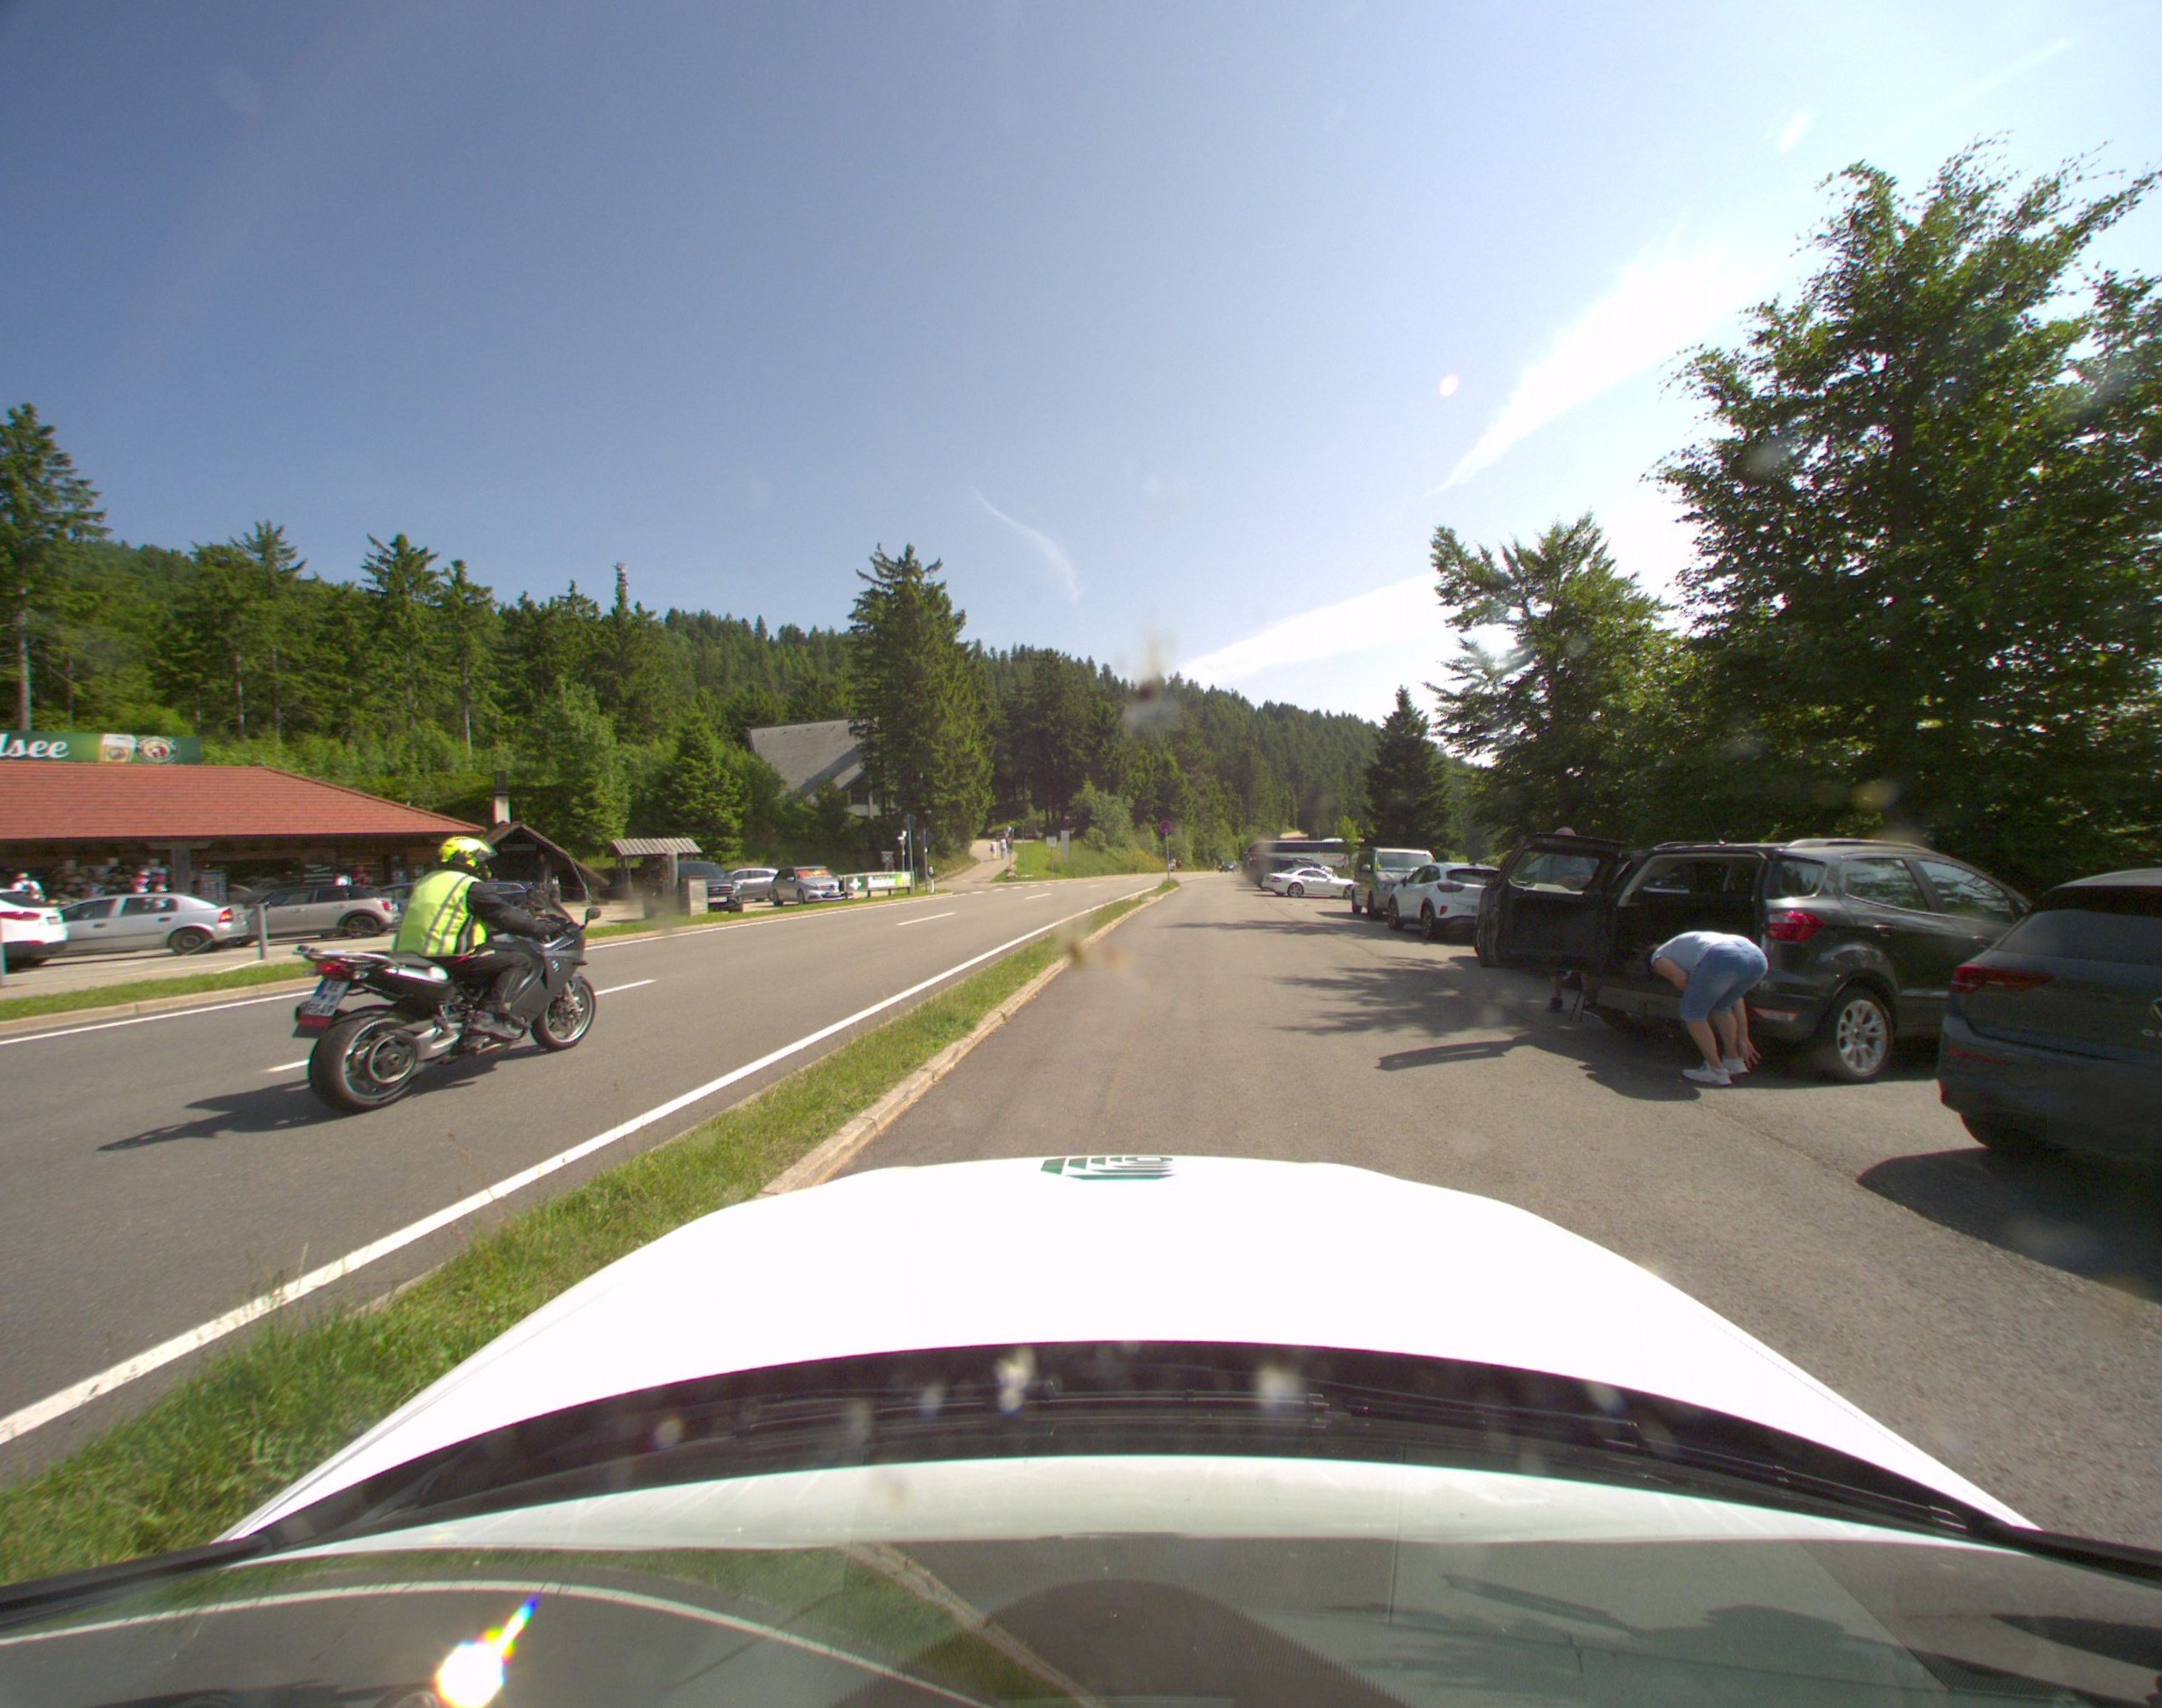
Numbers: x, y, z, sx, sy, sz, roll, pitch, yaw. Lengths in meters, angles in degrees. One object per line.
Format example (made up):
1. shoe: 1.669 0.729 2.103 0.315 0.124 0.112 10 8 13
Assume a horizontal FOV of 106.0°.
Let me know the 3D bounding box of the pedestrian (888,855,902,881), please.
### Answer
1. pedestrian: -11.194 0.827 48.959 0.574 1.532 0.554 -3 1 8

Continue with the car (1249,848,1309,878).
1. car: 13.863 0.608 57.153 3.962 1.814 1.946 2 2 10

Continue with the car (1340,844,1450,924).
1. car: 8.772 0.758 23.189 1.894 1.972 4.831 2 0 9

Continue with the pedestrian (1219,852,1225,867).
1. pedestrian: 19.457 0.721 112.275 0.728 2.014 0.864 -3 -2 8

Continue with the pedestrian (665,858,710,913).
1. pedestrian: -13.244 1.040 27.420 0.891 1.734 0.963 -3 1 8

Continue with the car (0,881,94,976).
1. car: -21.190 1.480 14.627 4.051 1.672 1.756 -4 0 -38

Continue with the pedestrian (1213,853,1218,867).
1. pedestrian: 18.696 0.852 113.464 0.619 1.900 0.656 -3 -2 8

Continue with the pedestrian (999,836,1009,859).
1. pedestrian: -6.171 -0.532 65.230 0.650 1.799 0.643 -2 -1 2

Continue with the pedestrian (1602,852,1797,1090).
1. pedestrian: 3.966 0.718 5.285 0.768 1.402 0.672 -3 1 14

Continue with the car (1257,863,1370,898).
1. car: 10.105 1.142 35.511 4.450 1.298 1.578 3 0 -8

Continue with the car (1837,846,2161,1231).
1. car: 5.973 0.713 3.690 3.991 1.443 1.832 1 0 -13

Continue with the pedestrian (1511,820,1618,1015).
1. pedestrian: 4.542 0.579 7.679 0.631 1.761 0.579 1 0 -8

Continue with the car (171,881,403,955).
1. car: -20.185 1.585 20.974 4.018 1.419 1.666 -4 0 -36

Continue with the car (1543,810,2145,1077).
1. car: 6.173 0.651 6.685 3.999 1.662 1.987 3 -1 -20

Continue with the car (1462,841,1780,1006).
1. car: 6.636 0.732 10.664 1.734 1.632 4.318 2 0 8

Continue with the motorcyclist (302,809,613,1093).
1. motorcyclist: -4.110 0.579 5.511 1.020 1.675 1.296 -1 0 8

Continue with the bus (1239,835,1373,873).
1. bus: 22.695 0.009 82.537 12.743 3.577 2.999 -1 2 25

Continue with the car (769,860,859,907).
1. car: -9.623 1.046 29.197 1.753 1.441 3.924 -4 1 -38

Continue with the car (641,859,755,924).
1. car: -10.982 1.033 23.198 1.799 1.634 4.160 -1 -1 -42

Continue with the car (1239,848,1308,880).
1. car: 11.792 0.611 50.111 3.964 1.719 1.872 2 2 8

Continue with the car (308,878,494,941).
1. car: -19.873 1.596 24.048 4.018 1.419 1.666 -4 0 -36

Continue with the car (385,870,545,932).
1. car: -20.208 1.475 26.935 4.017 1.617 1.978 -4 1 -35

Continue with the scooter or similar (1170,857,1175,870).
1. scooter or similar: 10.231 1.056 91.302 0.480 1.380 0.819 -3 1 8

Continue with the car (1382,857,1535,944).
1. car: 7.624 0.873 16.866 1.670 1.518 4.057 2 -1 7

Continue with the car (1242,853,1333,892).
1. car: 10.138 0.887 40.196 3.973 1.699 2.001 2 1 0

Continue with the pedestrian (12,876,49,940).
1. pedestrian: -31.546 1.601 24.461 0.531 1.874 0.541 -1 0 -39

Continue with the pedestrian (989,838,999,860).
1. pedestrian: -6.931 -0.410 64.699 0.650 1.667 0.643 -2 -2 2

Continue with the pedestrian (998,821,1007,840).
1. pedestrian: -8.337 -2.491 86.365 0.795 2.013 0.940 -3 1 0

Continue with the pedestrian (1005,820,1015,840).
1. pedestrian: -7.477 -2.533 85.858 0.812 2.013 0.853 -3 1 0

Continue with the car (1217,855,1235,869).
1. car: 18.662 1.033 104.701 1.979 1.662 4.017 -2 0 15

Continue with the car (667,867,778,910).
1. car: -15.339 1.412 34.942 4.022 1.494 1.664 -3 3 -42

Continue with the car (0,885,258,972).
1. car: -21.002 1.578 17.741 4.045 1.468 1.756 -4 0 -38

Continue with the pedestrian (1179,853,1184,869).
1. pedestrian: 11.302 0.804 91.571 0.392 1.747 0.407 -3 1 8

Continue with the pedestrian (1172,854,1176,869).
1. pedestrian: 10.502 0.840 91.919 0.412 1.747 0.458 -3 1 8

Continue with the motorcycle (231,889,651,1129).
1. motorcycle: -4.083 0.889 5.549 0.817 1.177 2.292 -1 0 8
